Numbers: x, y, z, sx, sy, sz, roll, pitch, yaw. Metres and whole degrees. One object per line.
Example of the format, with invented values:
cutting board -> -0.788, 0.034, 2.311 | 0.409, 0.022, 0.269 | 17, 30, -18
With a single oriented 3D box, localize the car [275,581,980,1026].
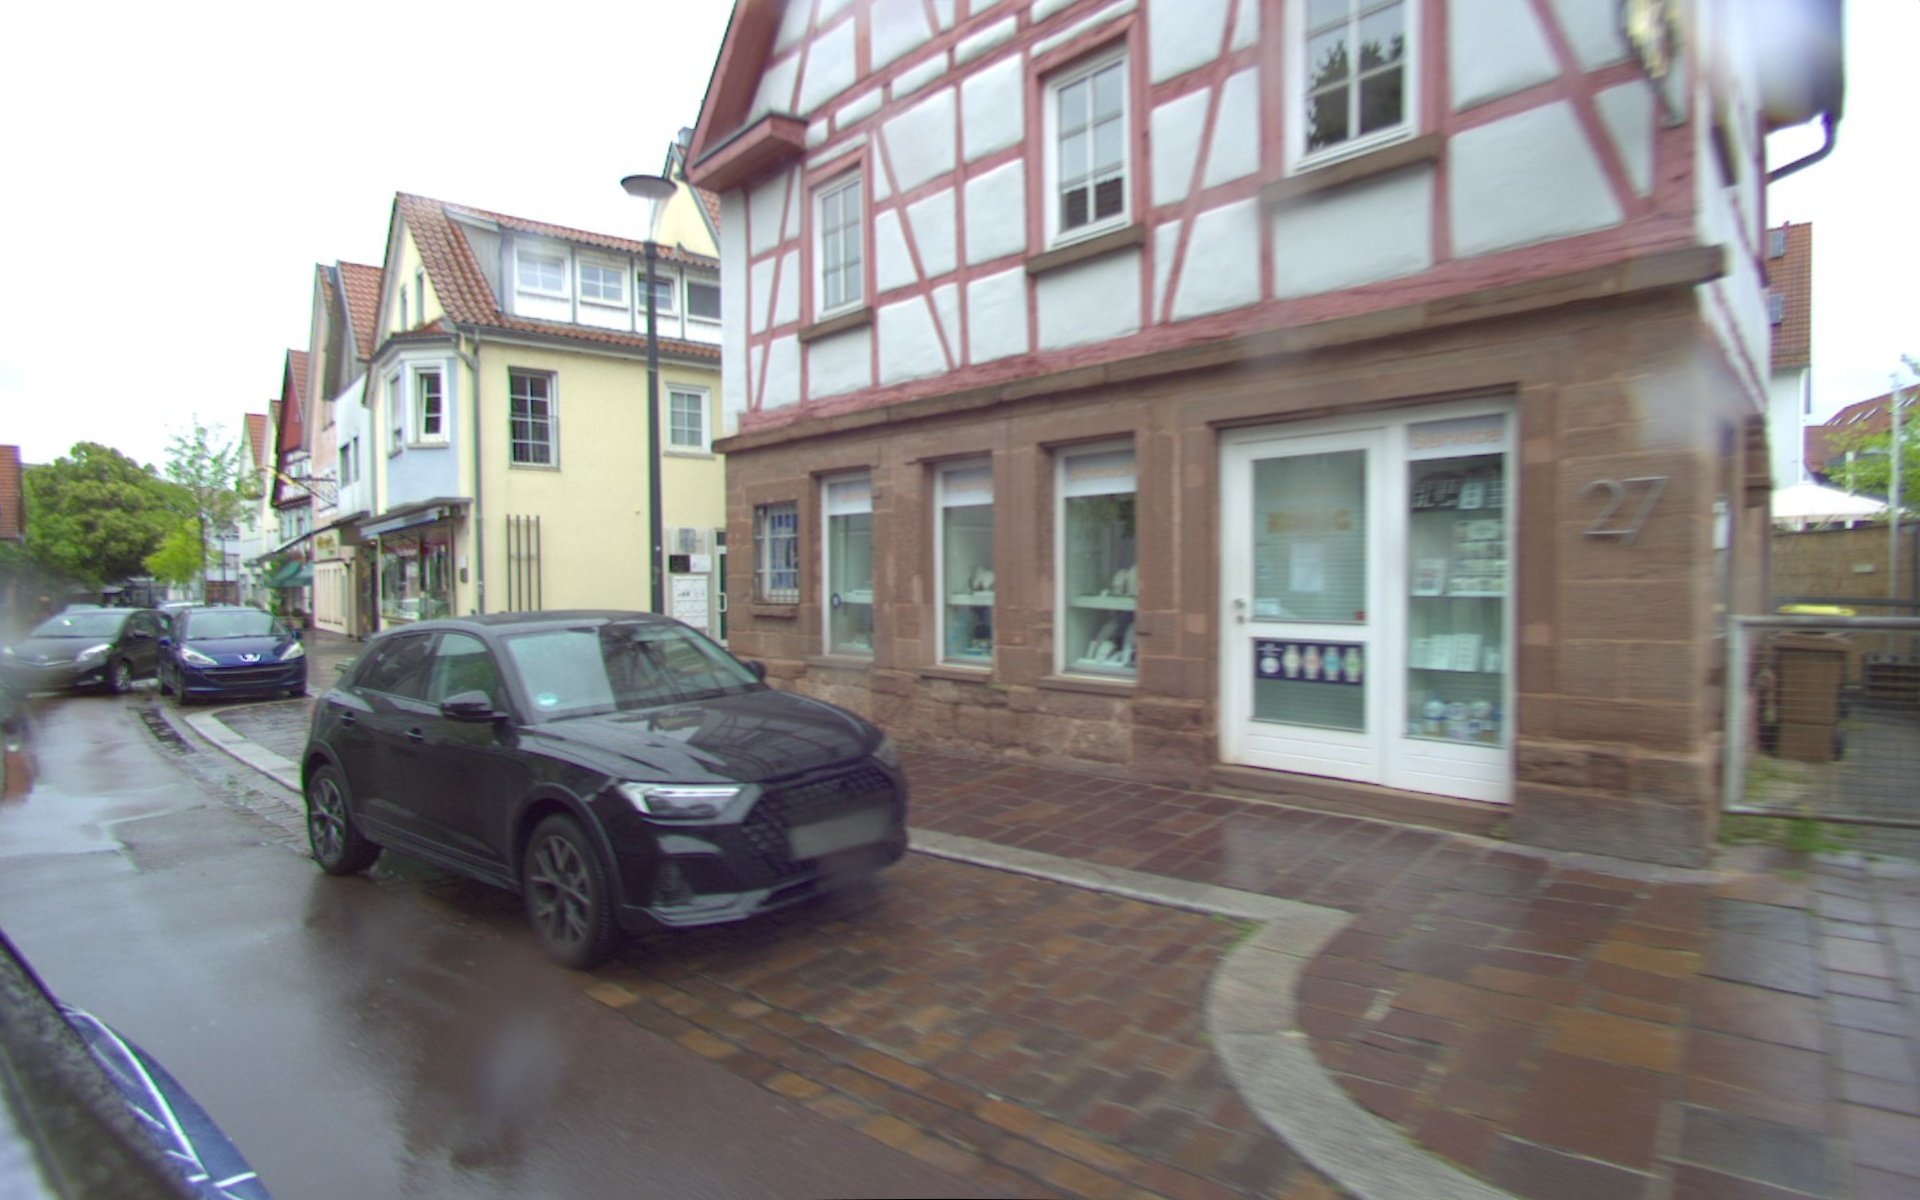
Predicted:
car -> -2.000, 0.730, 5.470 | 3.996, 1.497, 1.673 | -1, 3, 39

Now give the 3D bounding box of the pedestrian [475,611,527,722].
pedestrian -> -5.624, 0.798, 12.393 | 0.448, 1.317, 0.518 | 0, 0, -41

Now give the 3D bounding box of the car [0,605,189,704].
car -> -15.652, 0.887, 18.243 | 1.708, 1.567, 3.857 | -1, 0, -20

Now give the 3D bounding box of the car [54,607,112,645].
car -> -43.198, 1.236, 49.929 | 1.968, 1.763, 4.008 | -1, 0, -38

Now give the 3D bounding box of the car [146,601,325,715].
car -> -12.153, 0.863, 16.875 | 1.970, 1.540, 4.005 | -4, 2, -41
